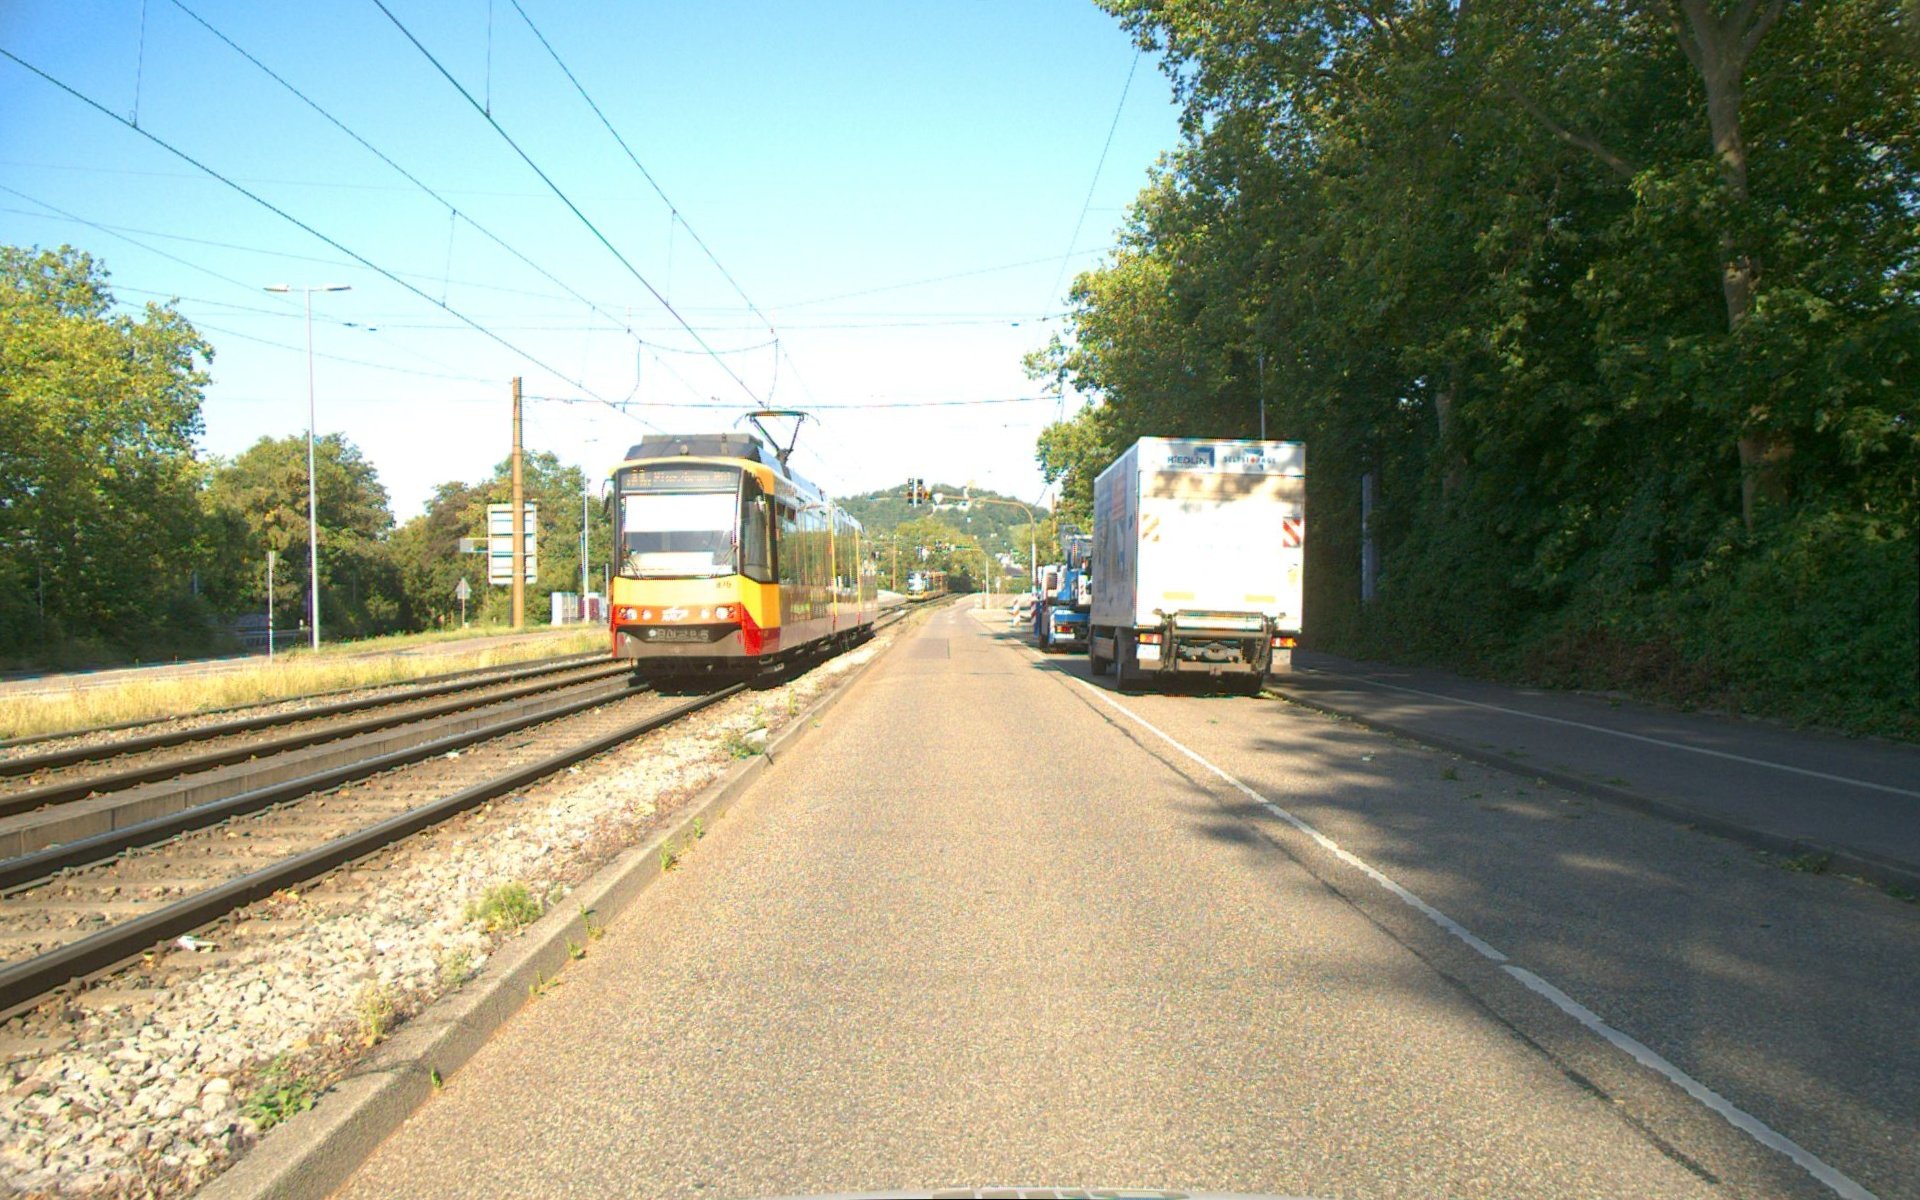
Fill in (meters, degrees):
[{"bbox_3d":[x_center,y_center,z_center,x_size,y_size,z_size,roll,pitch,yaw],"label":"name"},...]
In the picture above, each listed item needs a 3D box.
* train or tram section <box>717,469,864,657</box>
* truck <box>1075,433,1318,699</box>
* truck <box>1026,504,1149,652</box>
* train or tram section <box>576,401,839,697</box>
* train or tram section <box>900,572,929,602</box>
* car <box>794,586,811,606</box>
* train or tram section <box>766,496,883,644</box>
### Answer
[{"bbox_3d":[-4.103,-0.853,42.172,2.639,4.160,9.910,-1,0,0],"label":"train or tram section"},{"bbox_3d":[3.827,-0.518,29.291,2.686,3.849,10.087,1,0,-1],"label":"truck"},{"bbox_3d":[3.563,-0.602,48.541,2.662,3.849,9.760,1,0,-1],"label":"truck"},{"bbox_3d":[-4.095,-0.756,30.416,2.666,4.162,13.614,-1,0,0],"label":"train or tram section"},{"bbox_3d":[-5.573,-1.601,204.140,2.589,3.629,10.837,-1,0,3],"label":"train or tram section"},{"bbox_3d":[-16.862,-0.395,177.405,1.690,2.049,3.997,1,-1,-4],"label":"car"},{"bbox_3d":[-4.148,-0.881,53.529,2.664,4.160,12.812,-1,0,0],"label":"train or tram section"}]
